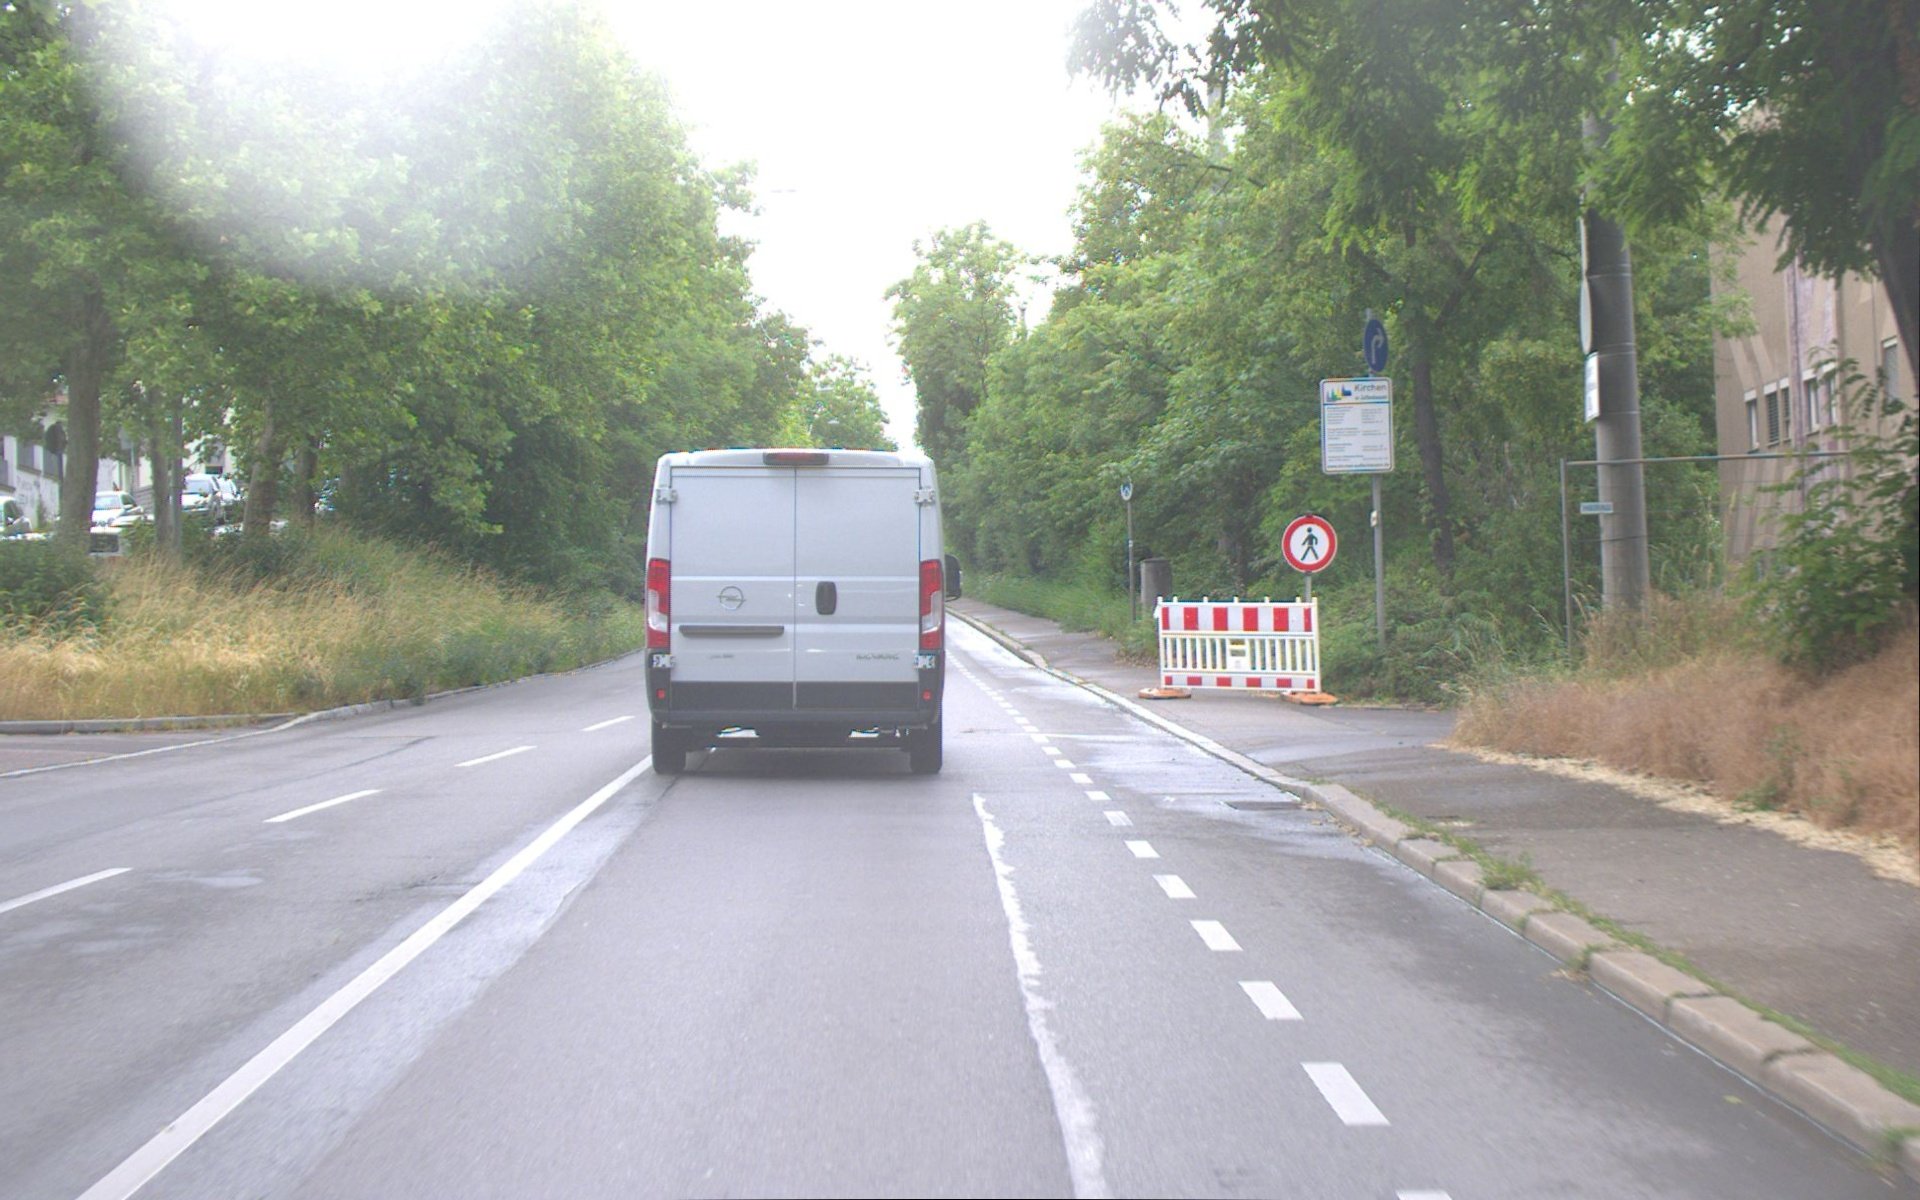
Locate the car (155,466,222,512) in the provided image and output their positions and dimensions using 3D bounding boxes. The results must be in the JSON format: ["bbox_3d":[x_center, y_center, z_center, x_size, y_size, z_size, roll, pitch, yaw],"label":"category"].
[{"bbox_3d":[-23.991,-3.439,106.910,1.599,1.246,2.911,-2,-1,-4],"label":"car"}]

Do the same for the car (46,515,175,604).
[{"bbox_3d":[-14.192,-0.659,57.569,1.435,1.357,3.175,-2,-1,-2],"label":"car"}]

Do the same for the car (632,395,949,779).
[{"bbox_3d":[-1.177,-0.139,25.375,2.050,2.508,4.944,1,1,-1],"label":"car"}]

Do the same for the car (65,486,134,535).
[{"bbox_3d":[-22.645,-2.343,90.528,1.213,1.129,2.452,-2,-1,-2],"label":"car"}]

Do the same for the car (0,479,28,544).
[{"bbox_3d":[-21.724,-1.943,76.411,1.382,1.294,3.015,-2,-1,-4],"label":"car"}]
